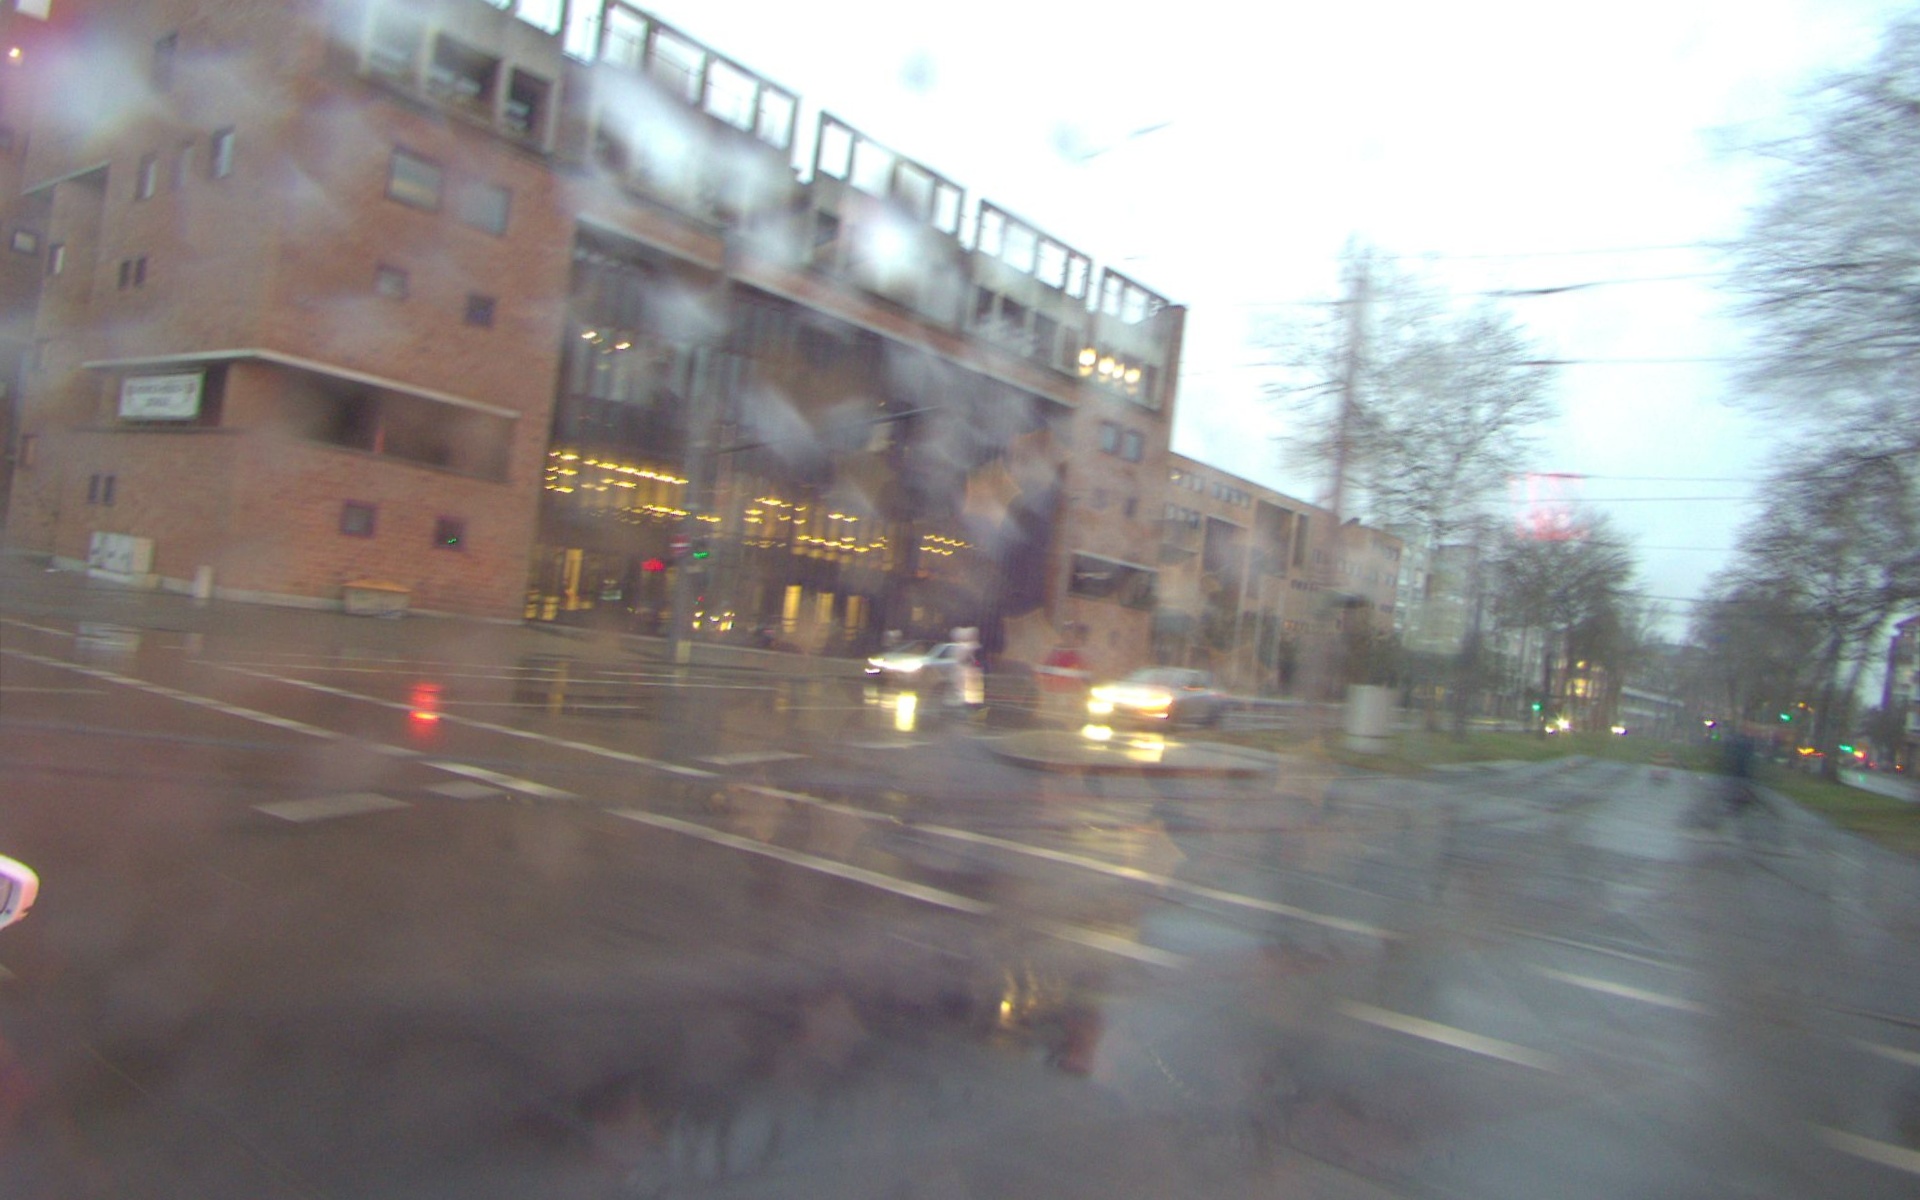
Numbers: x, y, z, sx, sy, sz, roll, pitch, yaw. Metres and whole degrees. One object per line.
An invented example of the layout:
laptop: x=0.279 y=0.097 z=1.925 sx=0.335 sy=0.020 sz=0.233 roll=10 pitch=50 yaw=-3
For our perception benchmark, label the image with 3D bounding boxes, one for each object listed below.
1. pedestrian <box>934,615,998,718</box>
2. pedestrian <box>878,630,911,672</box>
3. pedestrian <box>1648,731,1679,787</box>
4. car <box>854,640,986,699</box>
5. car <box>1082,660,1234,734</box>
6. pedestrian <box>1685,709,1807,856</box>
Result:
pedestrian: x=0.119 y=1.252 z=18.765 sx=0.723 sy=1.808 sz=0.735 roll=6 pitch=-1 yaw=31
pedestrian: x=-2.358 y=1.827 z=36.150 sx=0.732 sy=1.405 sz=0.730 roll=8 pitch=-1 yaw=-34
pedestrian: x=18.701 y=4.221 z=26.751 sx=0.472 sy=1.380 sz=0.604 roll=6 pitch=-1 yaw=43
car: x=-1.143 y=2.133 z=30.512 sx=1.787 sy=1.325 sz=3.984 roll=6 pitch=-3 yaw=37
car: x=4.671 y=2.249 z=23.345 sx=1.787 sy=1.357 sz=3.980 roll=6 pitch=-1 yaw=37
pedestrian: x=10.954 y=2.510 z=14.029 sx=1.137 sy=1.808 sz=0.774 roll=6 pitch=-1 yaw=43
